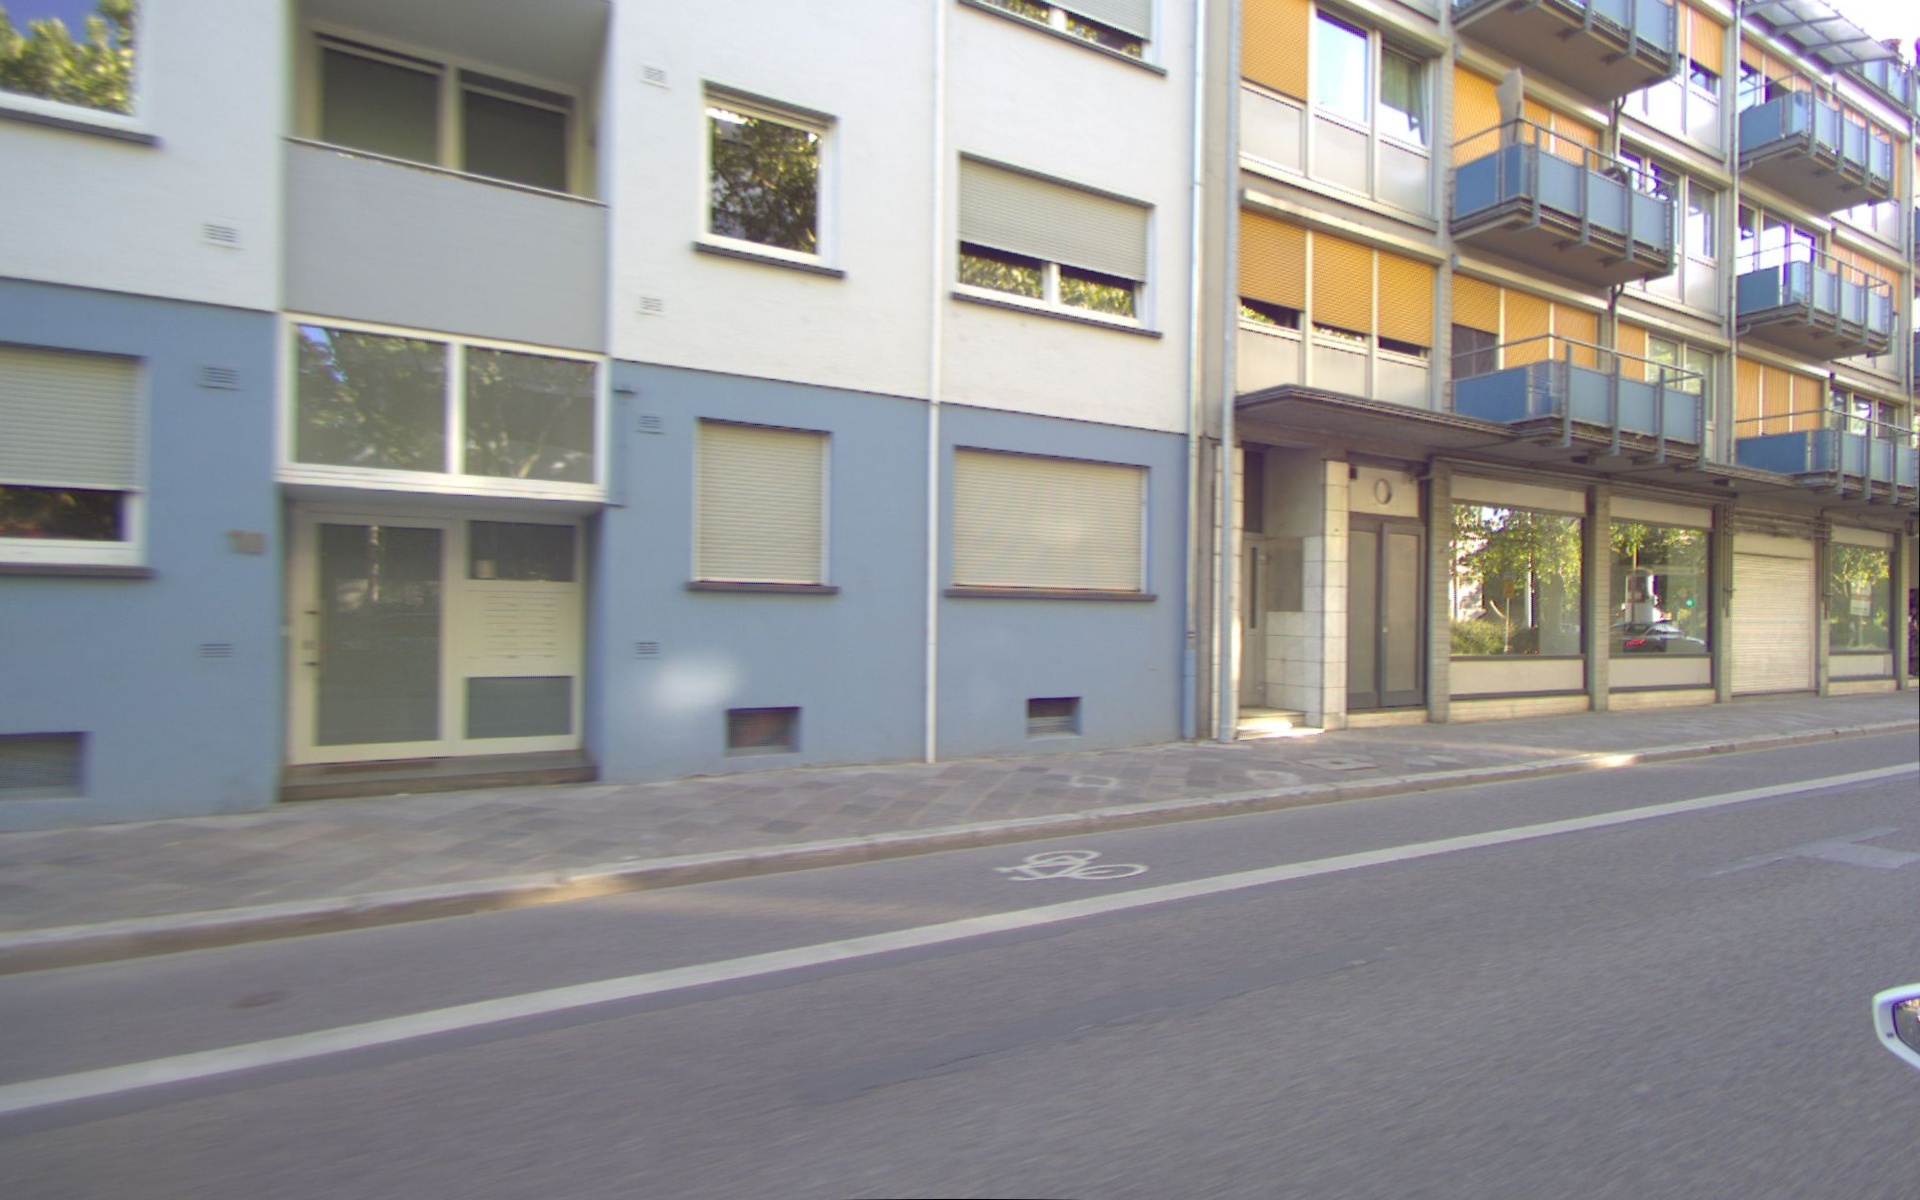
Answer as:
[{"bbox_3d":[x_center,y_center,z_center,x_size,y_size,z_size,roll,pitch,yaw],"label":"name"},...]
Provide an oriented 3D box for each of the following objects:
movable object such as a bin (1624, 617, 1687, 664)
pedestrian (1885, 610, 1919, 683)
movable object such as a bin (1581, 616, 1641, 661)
[{"bbox_3d":[22.060,1.273,31.882,1.067,1.433,1.312,1,-1,-30],"label":"movable object such as a bin"},{"bbox_3d":[21.134,1.021,22.434,0.747,1.600,0.511,1,0,-30],"label":"pedestrian"},{"bbox_3d":[21.383,1.244,33.003,1.067,1.433,1.312,1,-1,-30],"label":"movable object such as a bin"}]
